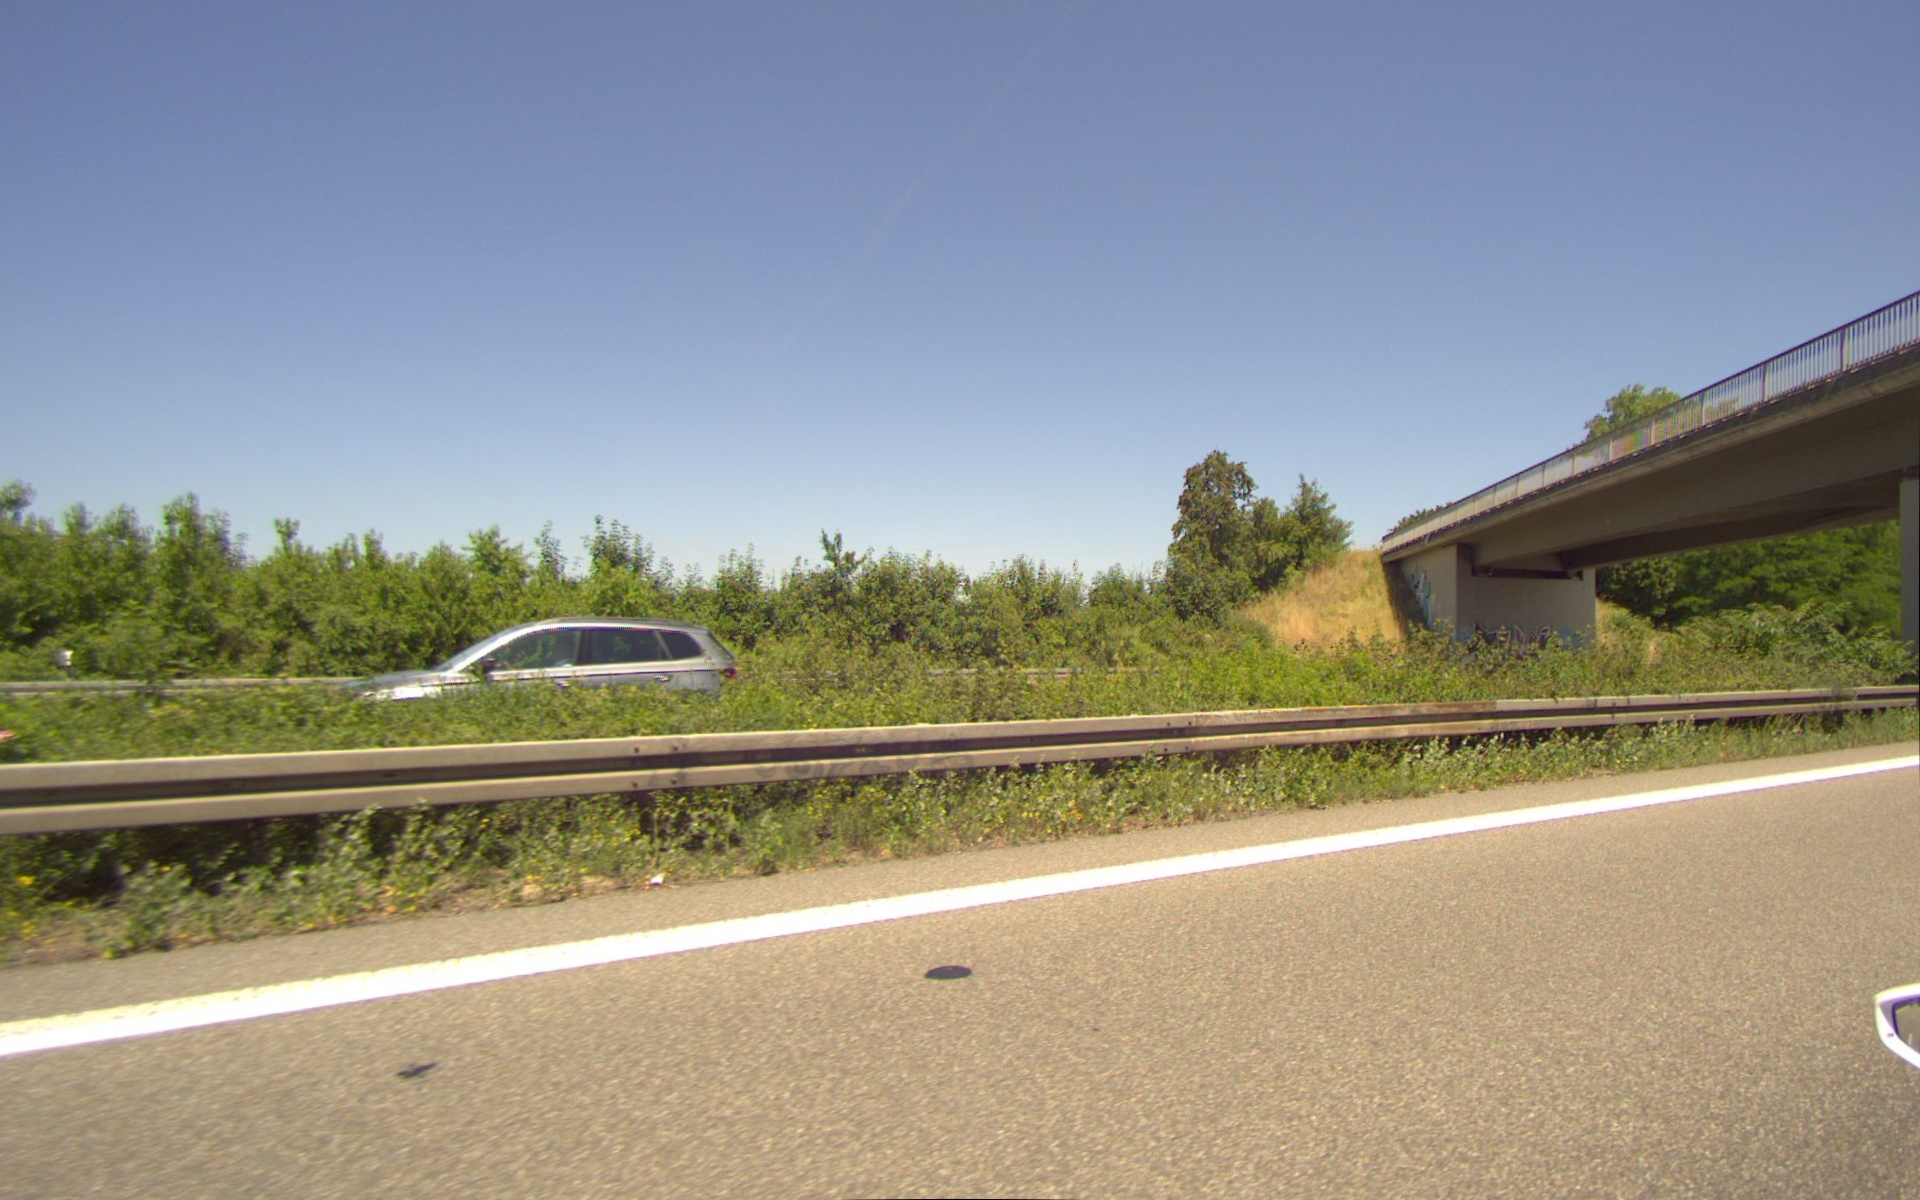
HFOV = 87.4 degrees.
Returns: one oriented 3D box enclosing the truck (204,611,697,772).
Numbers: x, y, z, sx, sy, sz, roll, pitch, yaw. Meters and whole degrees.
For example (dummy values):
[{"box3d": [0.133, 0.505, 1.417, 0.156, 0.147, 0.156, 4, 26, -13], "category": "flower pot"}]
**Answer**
[{"box3d": [-4.985, 0.827, 10.275, 4.141, 1.323, 1.764, 1, 0, -29], "category": "truck"}]
